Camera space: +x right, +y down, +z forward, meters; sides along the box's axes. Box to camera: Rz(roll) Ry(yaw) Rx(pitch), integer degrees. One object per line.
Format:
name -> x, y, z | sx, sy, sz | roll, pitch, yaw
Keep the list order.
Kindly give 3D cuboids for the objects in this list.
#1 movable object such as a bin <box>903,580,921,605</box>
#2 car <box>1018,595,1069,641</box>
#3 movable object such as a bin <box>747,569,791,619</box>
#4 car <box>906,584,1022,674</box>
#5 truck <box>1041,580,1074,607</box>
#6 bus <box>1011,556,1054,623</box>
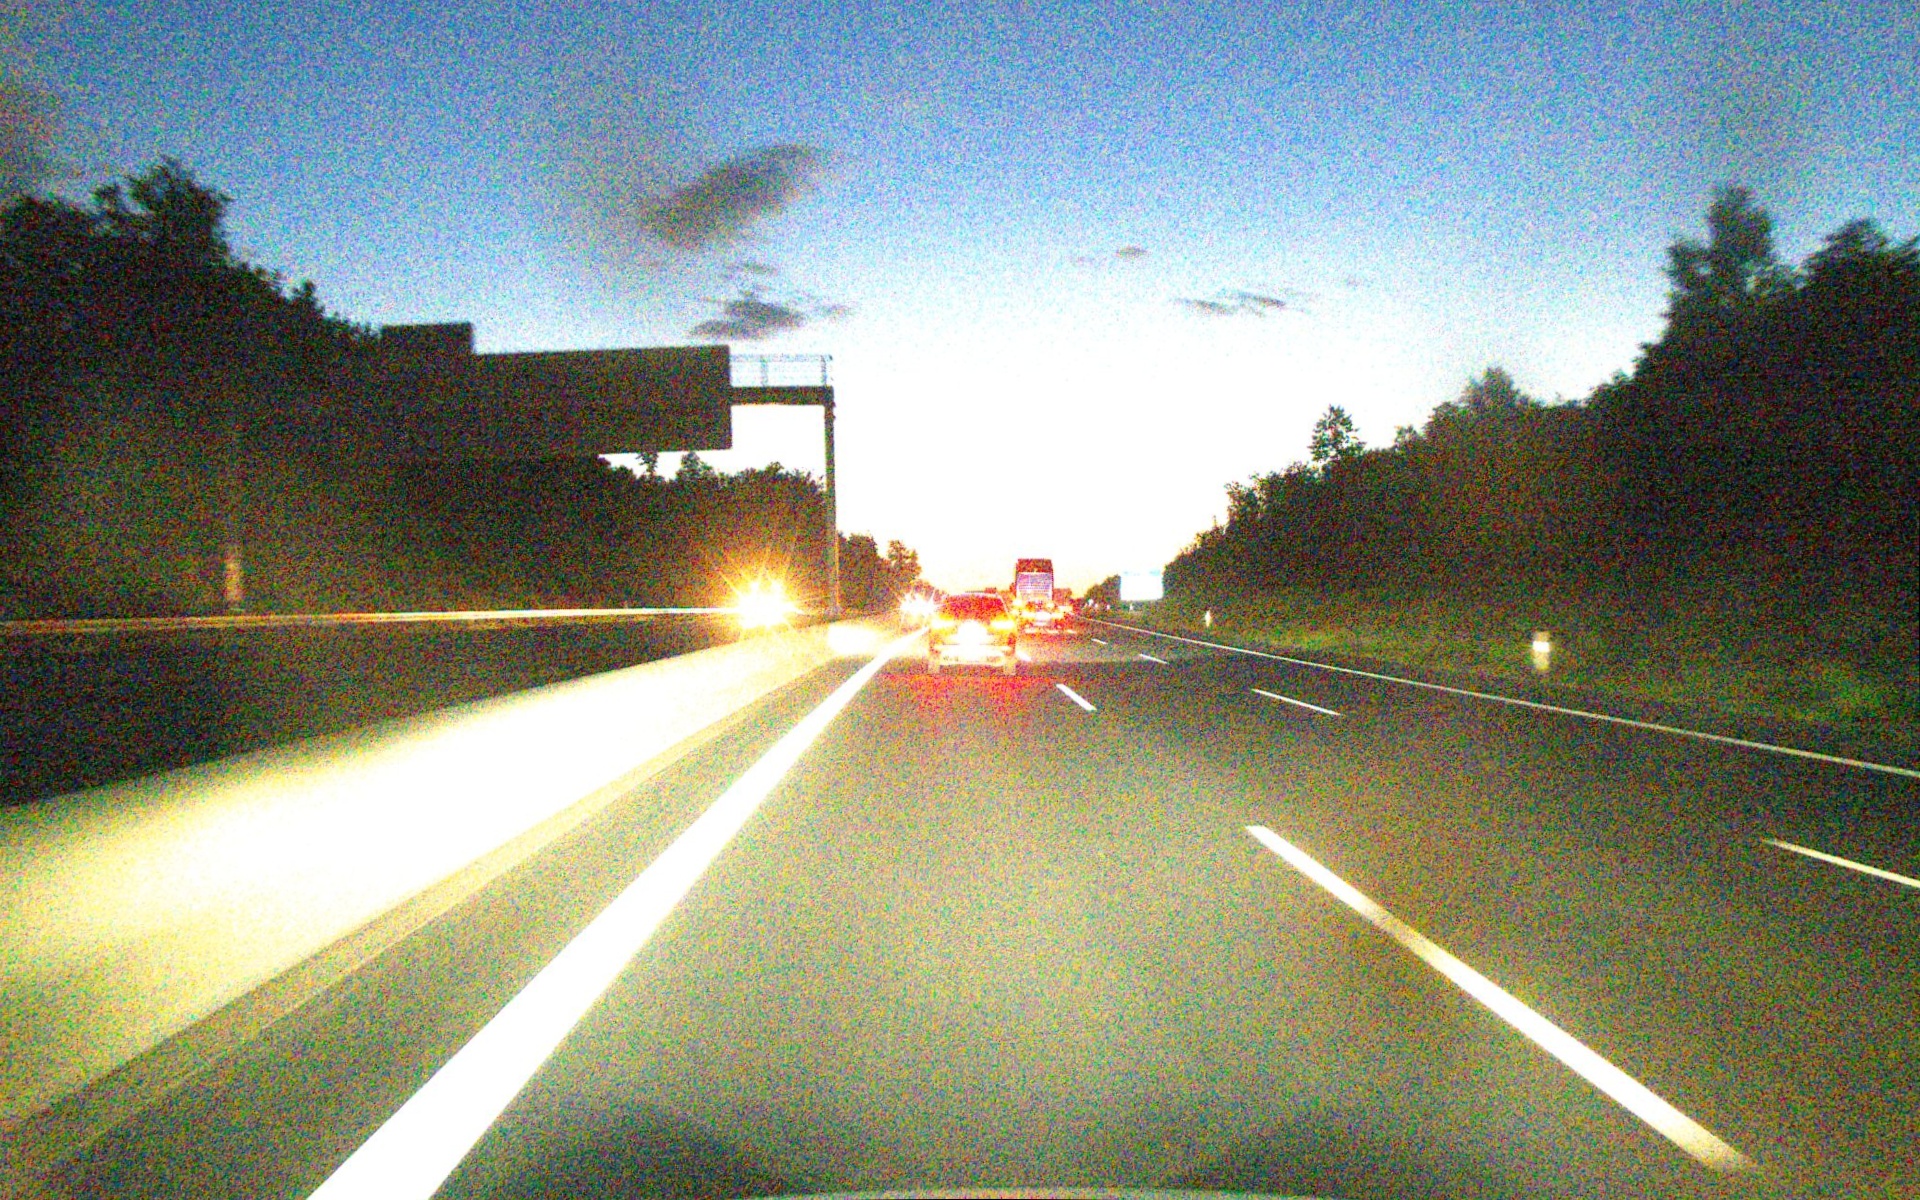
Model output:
movable object such as a bin -> -7.446, -1.159, 257.931 | 2.245, 3.835, 7.688 | 0, 0, 2
car -> 3.486, 0.771, 69.576 | 1.872, 1.760, 3.999 | 3, -1, 0
movable object such as a bin -> -13.705, -0.448, 119.185 | 2.162, 3.477, 7.437 | 0, 0, 1
car -> 0.013, 0.538, 33.729 | 2.064, 1.646, 4.201 | 2, 1, -4
truck -> 11.380, -0.730, 194.393 | 2.496, 3.068, 9.042 | 1, 0, -5
bus -> 4.922, -0.578, 111.938 | 2.597, 4.064, 14.705 | -2, -1, 3
